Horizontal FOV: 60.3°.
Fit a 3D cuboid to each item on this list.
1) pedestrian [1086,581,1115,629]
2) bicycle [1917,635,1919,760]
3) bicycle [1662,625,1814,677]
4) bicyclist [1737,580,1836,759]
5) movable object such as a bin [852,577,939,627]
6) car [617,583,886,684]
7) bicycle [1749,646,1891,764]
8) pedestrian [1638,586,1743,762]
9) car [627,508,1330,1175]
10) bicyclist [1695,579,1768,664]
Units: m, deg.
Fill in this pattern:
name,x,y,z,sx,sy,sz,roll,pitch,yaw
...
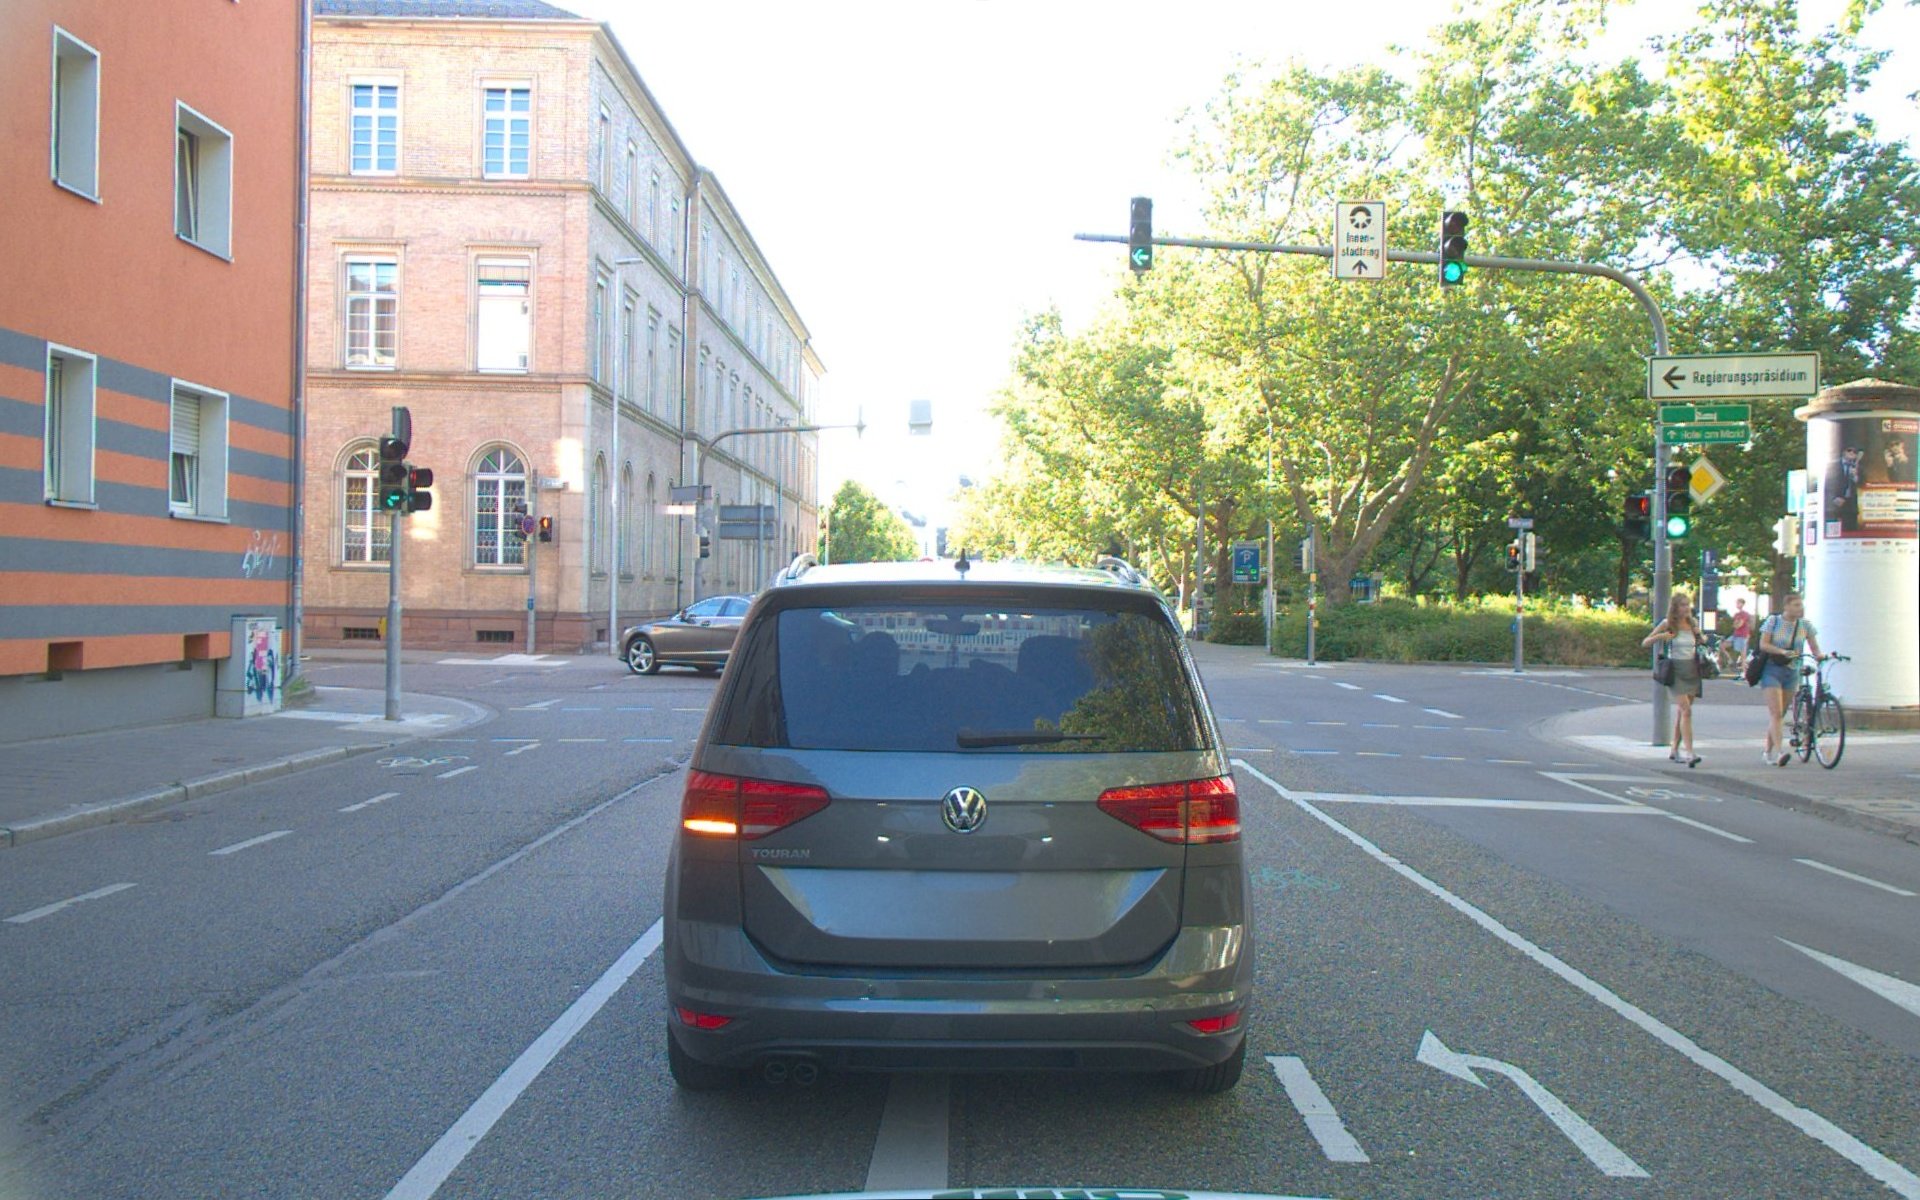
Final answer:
name,x,y,z,sx,sy,sz,roll,pitch,yaw
pedestrian,8.007,0.302,94.136,1.393,2.714,1.146,1,-1,-9
bicycle,10.169,0.944,16.212,1.966,1.203,0.466,1,-1,-30
bicycle,17.086,1.114,36.353,2.936,1.056,0.942,1,0,-4
bicyclist,8.238,0.687,16.506,0.620,1.744,0.654,0,-2,-1
movable object such as a bin,-3.836,0.115,97.561,4.757,2.825,2.458,1,-1,43
car,-3.591,0.517,28.161,4.417,1.556,1.923,1,0,35
bicycle,8.402,1.000,16.233,0.510,1.053,1.647,1,0,-1
pedestrian,7.455,0.743,16.903,0.758,1.749,0.692,0,-1,-1
car,0.041,0.591,6.113,1.726,1.635,4.000,1,0,0
bicyclist,16.934,0.467,36.332,1.105,1.839,0.977,1,-1,-2
